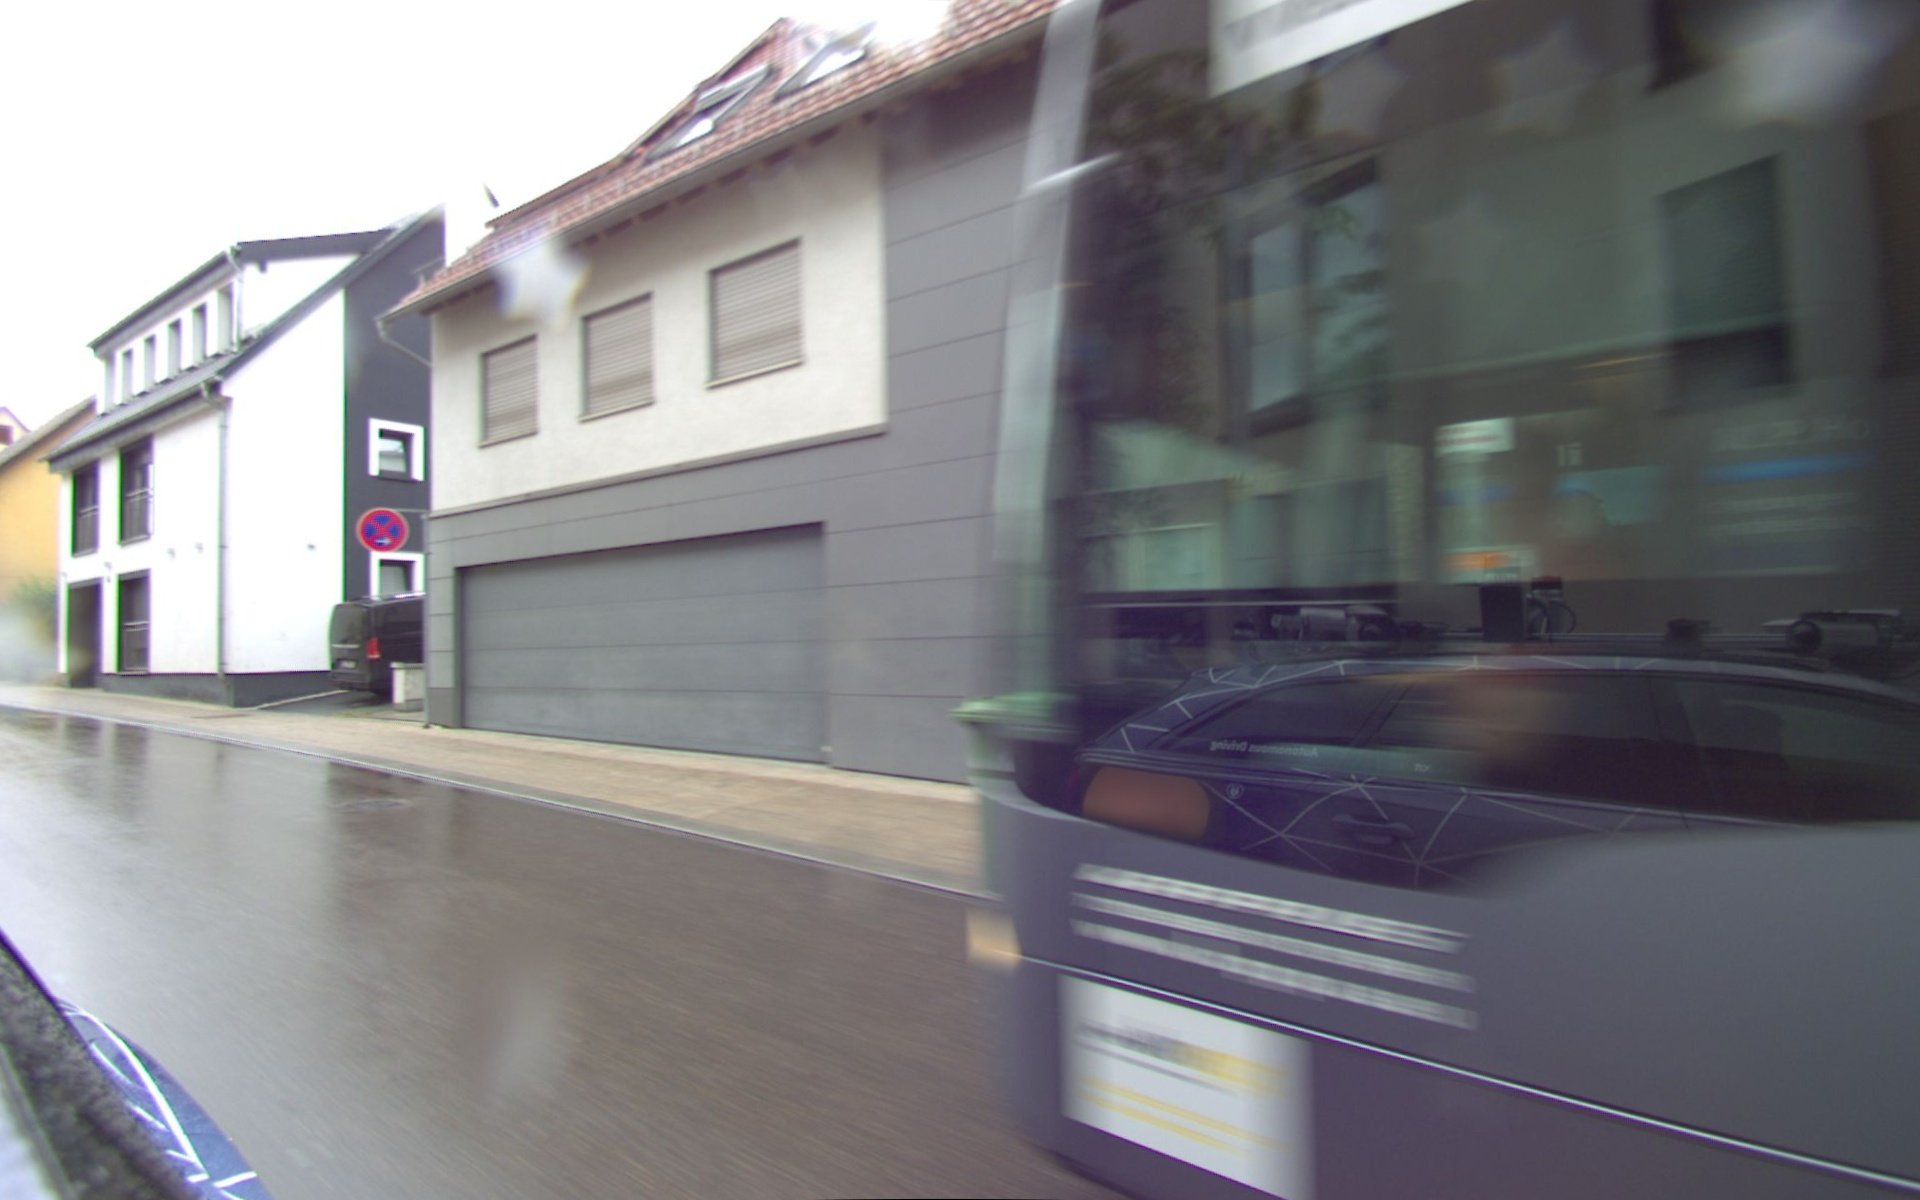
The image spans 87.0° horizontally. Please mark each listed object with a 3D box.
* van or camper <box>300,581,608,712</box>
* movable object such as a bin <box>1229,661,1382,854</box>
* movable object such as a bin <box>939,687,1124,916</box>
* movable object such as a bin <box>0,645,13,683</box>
[{"bbox_3d":[-9.713,0.770,19.876,1.996,1.947,4.981,-1,4,36],"label":"van or camper"},{"bbox_3d":[2.191,0.944,6.394,0.700,1.067,0.785,-1,-1,37],"label":"movable object such as a bin"},{"bbox_3d":[0.399,1.046,5.554,0.725,1.067,0.734,-1,-1,37],"label":"movable object such as a bin"},{"bbox_3d":[-28.913,1.892,30.283,0.720,1.117,0.651,-1,-5,38],"label":"movable object such as a bin"}]
